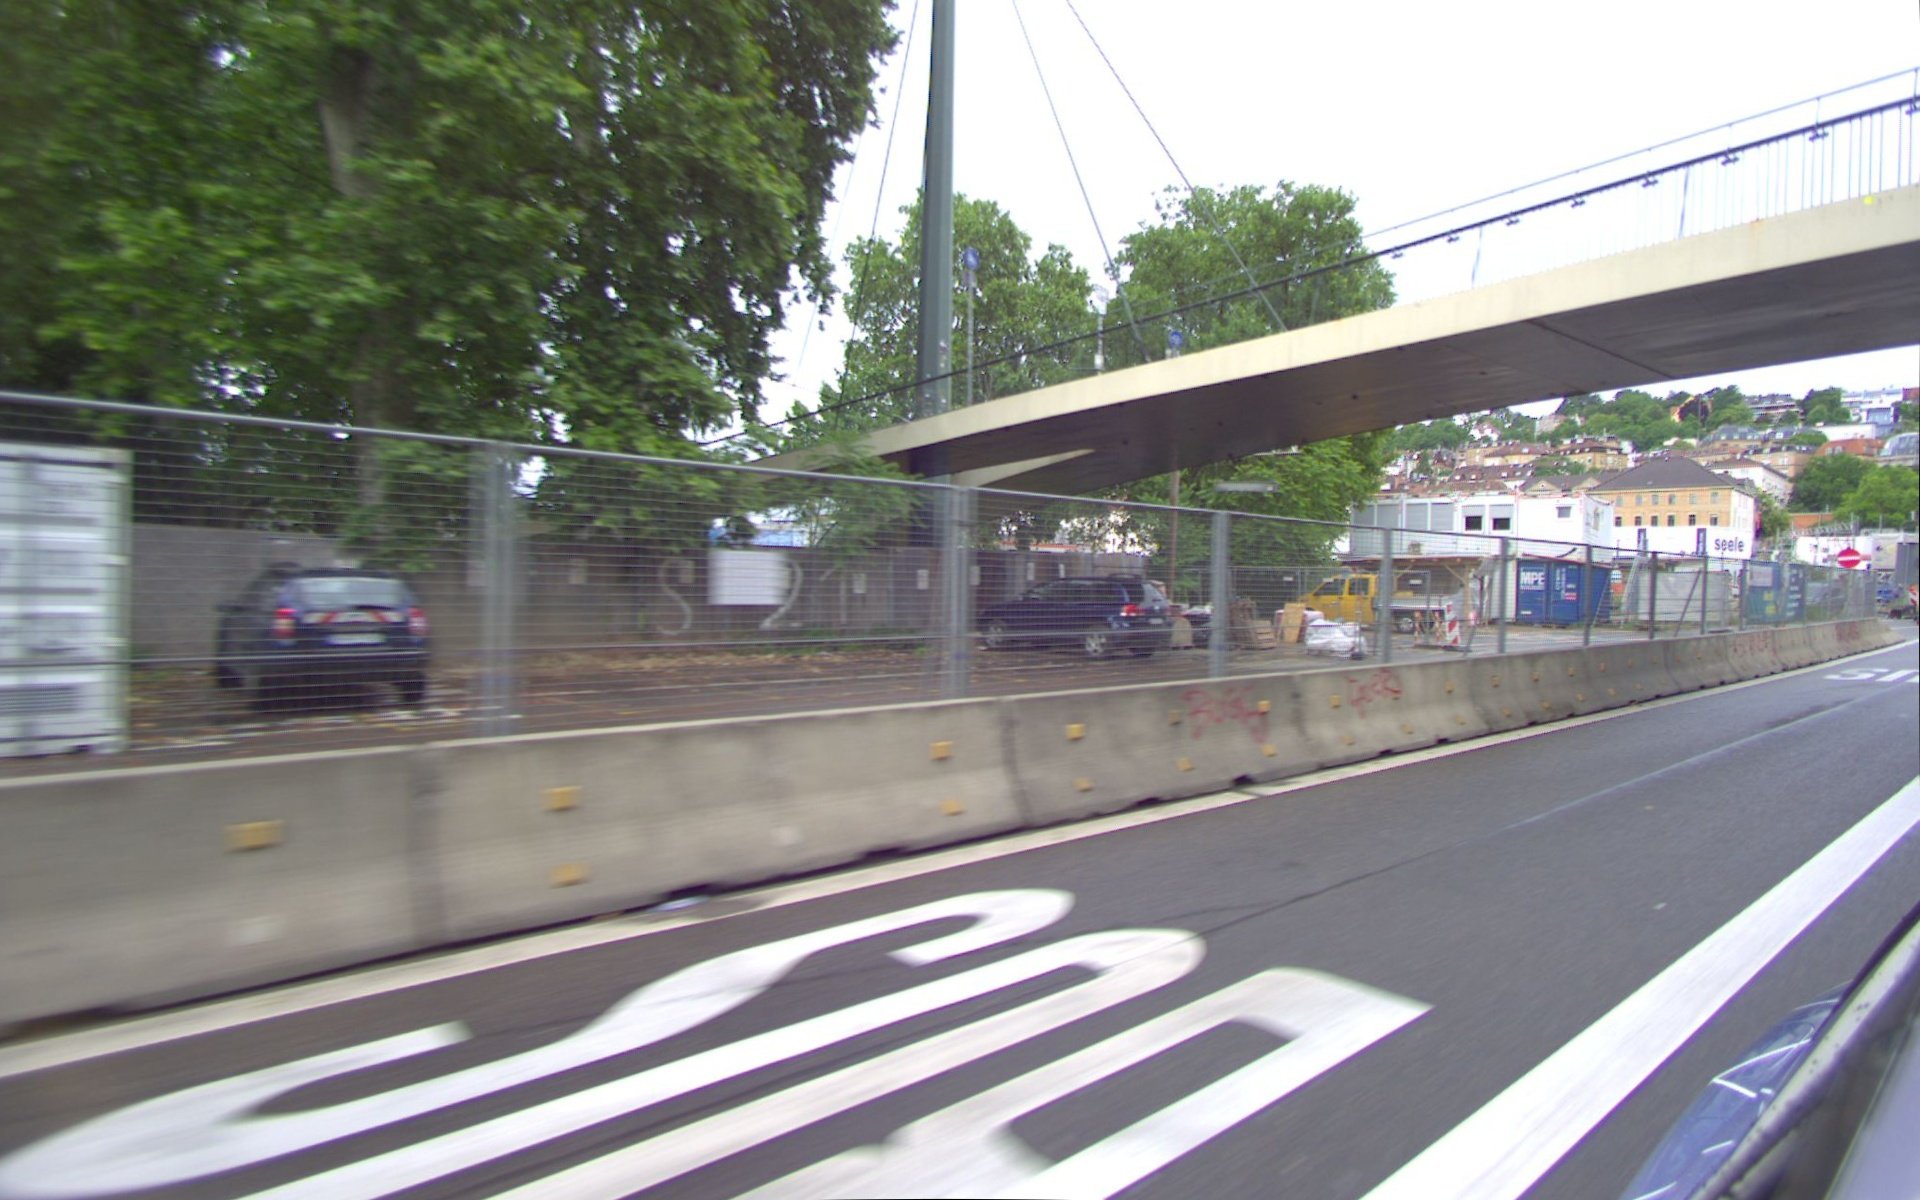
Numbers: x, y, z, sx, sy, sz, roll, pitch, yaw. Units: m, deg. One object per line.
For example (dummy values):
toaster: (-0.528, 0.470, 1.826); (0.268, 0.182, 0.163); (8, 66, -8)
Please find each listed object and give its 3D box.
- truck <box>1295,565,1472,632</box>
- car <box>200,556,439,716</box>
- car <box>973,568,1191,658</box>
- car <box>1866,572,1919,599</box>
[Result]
truck: (14.526, -0.135, 34.887); (5.153, 2.038, 2.373); (2, 4, 43)
car: (-8.200, 0.312, 12.762); (1.757, 1.649, 4.549); (1, 1, -42)
car: (2.588, 0.192, 22.199); (4.500, 1.750, 1.968); (2, 2, 45)
car: (54.433, -0.838, 58.830); (4.333, 1.459, 1.837); (-2, 1, -38)
